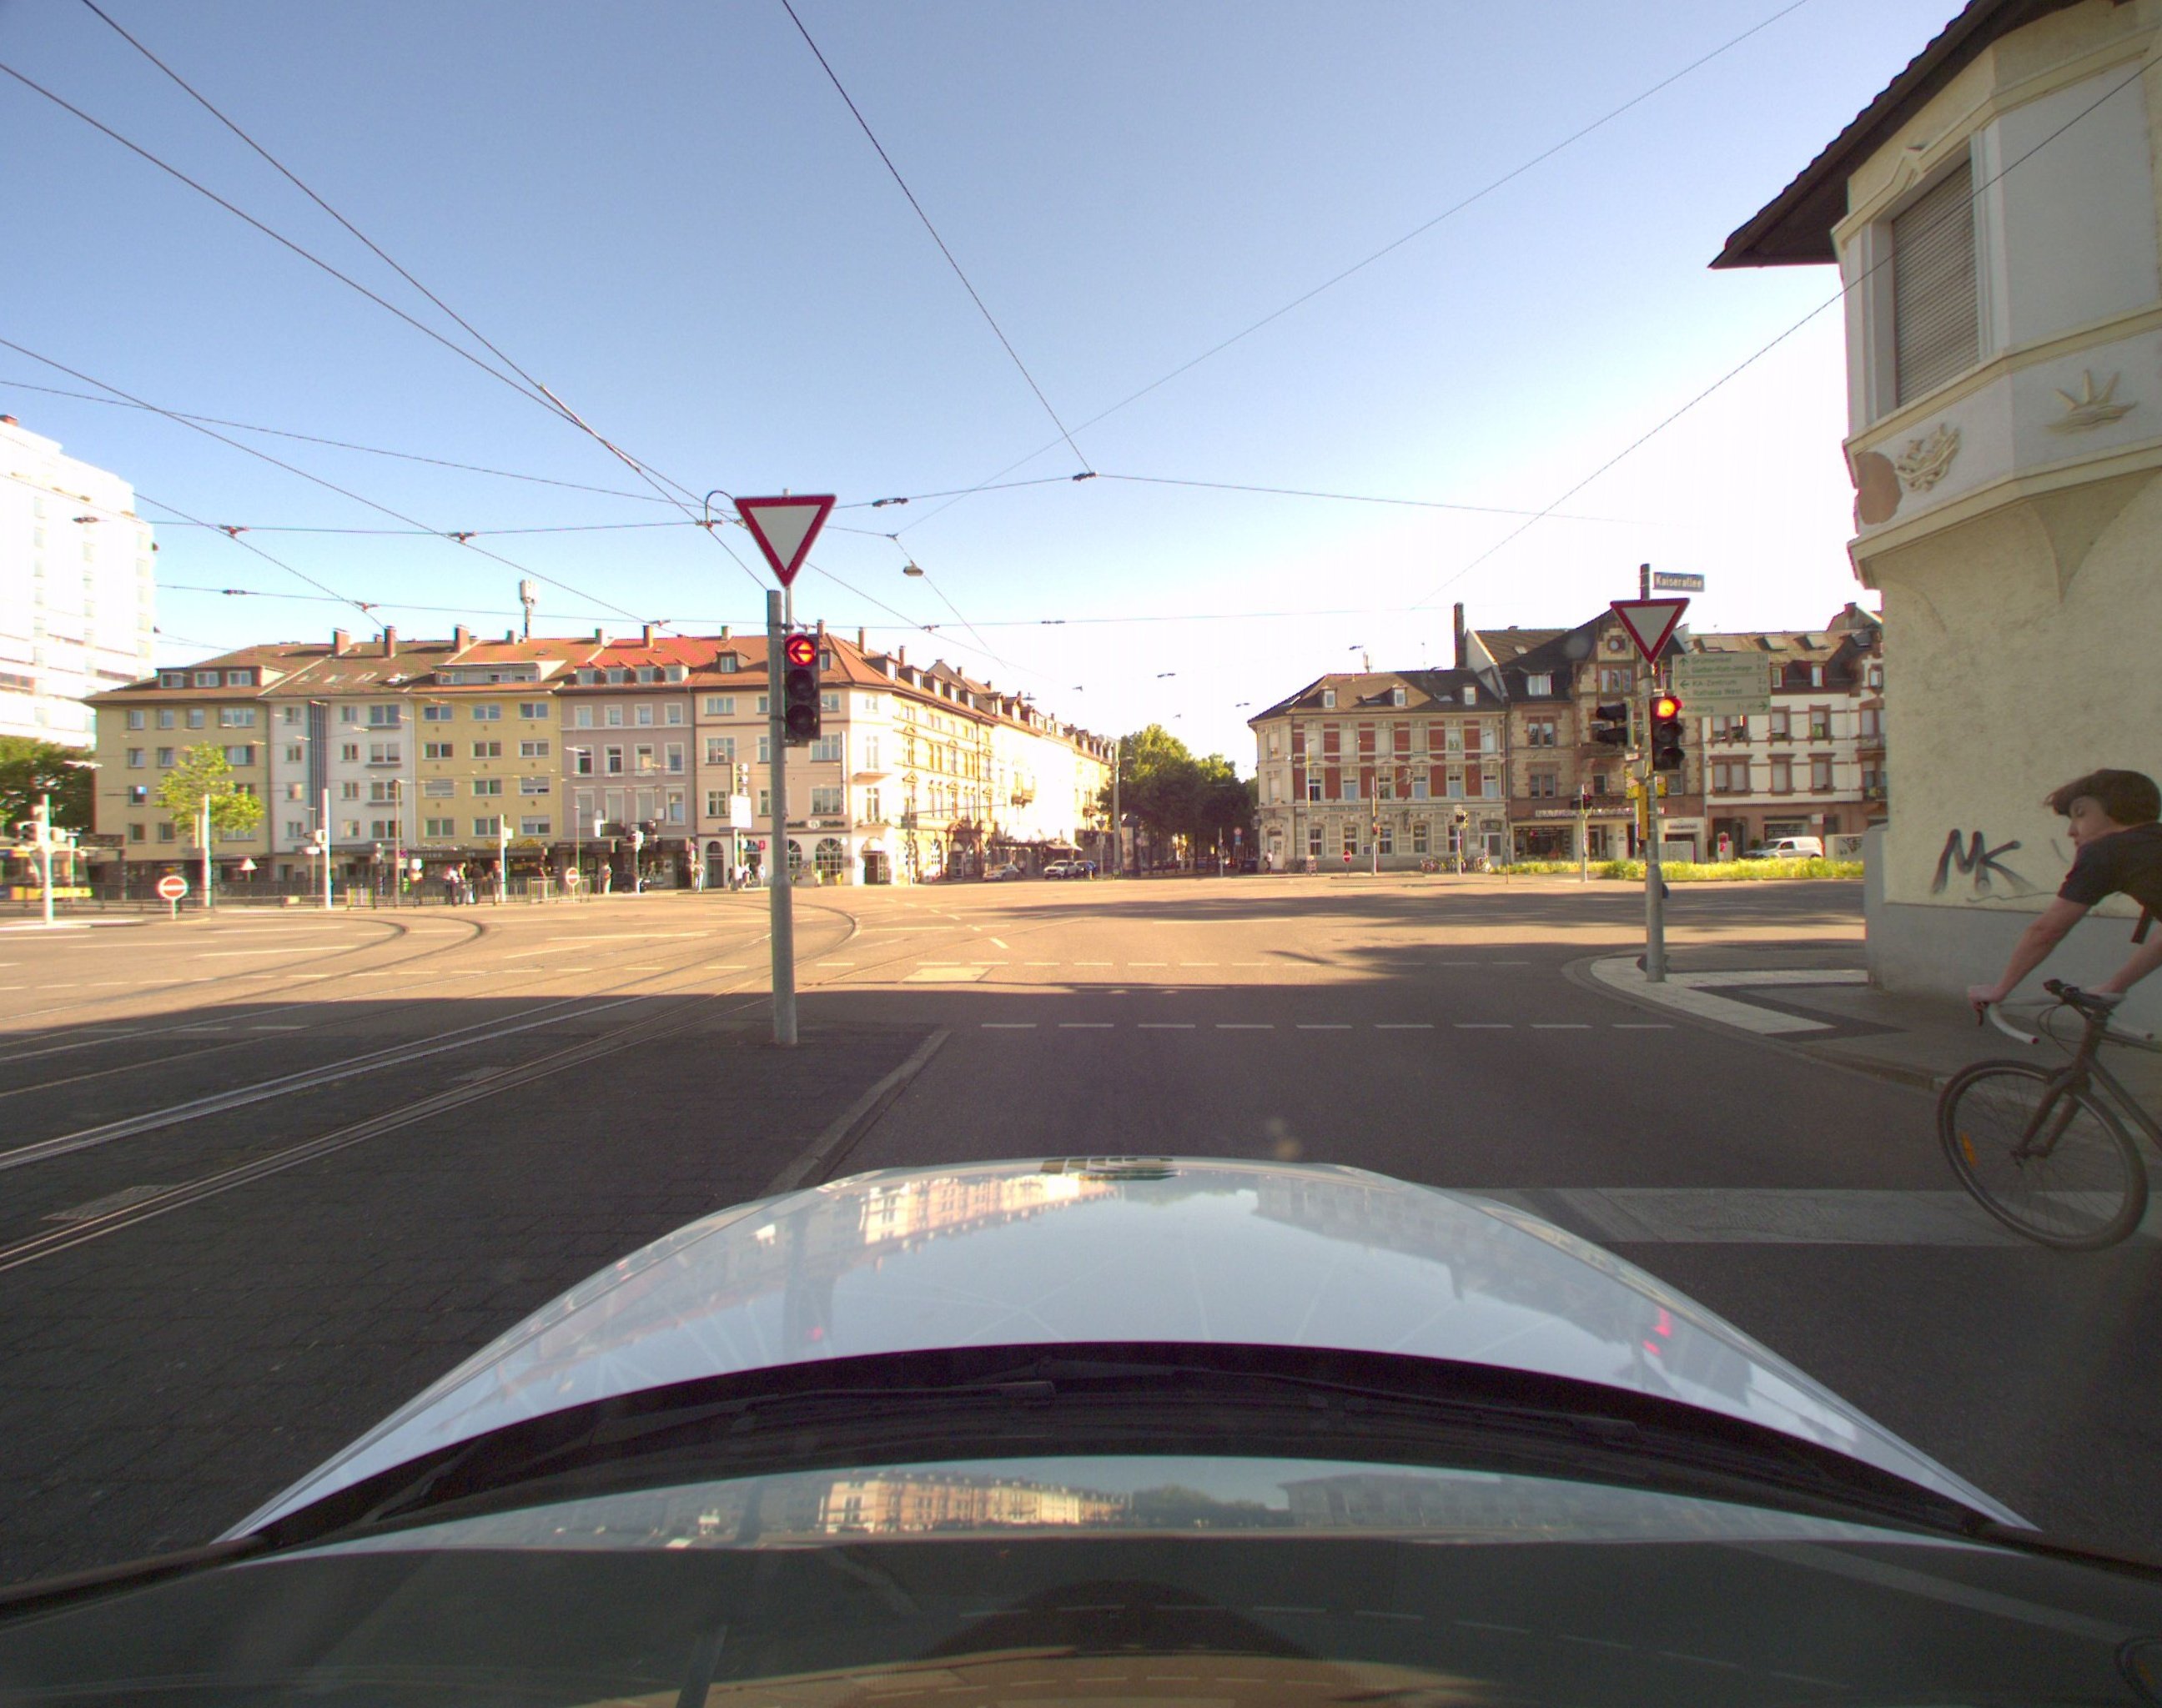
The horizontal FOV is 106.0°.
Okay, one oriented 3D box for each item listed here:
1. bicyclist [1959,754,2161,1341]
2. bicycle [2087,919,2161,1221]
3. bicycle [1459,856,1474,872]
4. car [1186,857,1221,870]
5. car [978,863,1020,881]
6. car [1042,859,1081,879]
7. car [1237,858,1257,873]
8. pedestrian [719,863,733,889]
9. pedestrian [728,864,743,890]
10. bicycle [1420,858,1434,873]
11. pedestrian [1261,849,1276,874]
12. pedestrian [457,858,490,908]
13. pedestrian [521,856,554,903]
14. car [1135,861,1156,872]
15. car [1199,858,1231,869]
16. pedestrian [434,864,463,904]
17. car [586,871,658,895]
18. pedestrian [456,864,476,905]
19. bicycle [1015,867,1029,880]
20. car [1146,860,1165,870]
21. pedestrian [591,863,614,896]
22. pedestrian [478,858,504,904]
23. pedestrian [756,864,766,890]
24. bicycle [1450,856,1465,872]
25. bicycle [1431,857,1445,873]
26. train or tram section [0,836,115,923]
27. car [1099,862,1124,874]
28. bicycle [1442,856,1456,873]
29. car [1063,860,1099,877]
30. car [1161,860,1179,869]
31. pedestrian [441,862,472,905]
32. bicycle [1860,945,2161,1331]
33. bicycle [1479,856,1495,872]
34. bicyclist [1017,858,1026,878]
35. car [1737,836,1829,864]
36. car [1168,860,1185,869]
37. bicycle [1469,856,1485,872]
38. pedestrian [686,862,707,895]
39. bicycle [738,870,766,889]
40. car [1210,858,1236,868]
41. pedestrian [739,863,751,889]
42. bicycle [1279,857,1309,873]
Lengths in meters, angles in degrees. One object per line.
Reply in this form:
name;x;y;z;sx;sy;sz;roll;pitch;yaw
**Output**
bicyclist;3.564;0.576;2.492;0.649;1.767;0.995;-1;0;2
bicycle;4.509;0.858;2.480;0.568;1.165;1.890;-1;0;2
bicycle;24.906;0.653;52.666;0.483;1.020;1.789;-1;0;12
car;14.971;1.157;99.499;3.959;1.454;1.687;-1;0;13
car;-6.751;1.479;67.355;1.977;1.361;3.836;-1;0;18
car;-1.582;1.220;67.661;1.977;1.516;4.189;-1;0;18
car;16.808;1.132;82.284;1.742;1.420;4.016;-1;0;14
pedestrian;-23.068;1.412;52.924;0.744;1.682;0.623;-1;0;-23
pedestrian;-23.337;1.553;55.024;0.740;1.682;0.626;-1;0;-10
bicycle;22.490;0.750;52.969;0.483;0.914;1.789;-1;0;12
pedestrian;12.993;0.519;56.498;1.028;1.712;0.631;-1;-1;12
pedestrian;-23.228;1.101;31.155;0.625;1.850;0.778;-1;0;1
pedestrian;-21.599;1.022;32.374;0.764;1.829;0.723;-1;0;1
car;9.255;1.816;116.814;1.977;1.404;4.189;-1;0;18
car;17.345;1.227;105.152;3.959;1.288;1.700;-1;0;13
pedestrian;-25.292;1.202;32.555;0.696;1.581;0.560;-1;0;1
car;-30.243;1.904;53.687;3.711;1.491;1.820;0;-1;4
pedestrian;-23.791;1.170;31.503;0.426;1.551;0.453;-1;0;1
bicycle;-4.754;1.533;65.560;0.650;1.000;1.671;-1;-1;14
car;11.210;1.692;122.493;1.977;1.404;4.189;-1;0;18
pedestrian;-24.898;1.310;42.372;0.764;1.682;0.628;-1;0;1
pedestrian;-23.270;1.053;32.132;0.558;1.786;0.560;-1;0;1
pedestrian;-15.806;1.136;40.217;0.364;1.253;0.449;-1;0;-10
bicycle;24.373;0.658;52.738;0.483;1.020;1.789;-1;0;12
bicycle;23.166;0.721;52.865;0.483;1.020;1.789;-1;0;12
train or tram section;-52.985;1.197;38.264;11.609;3.934;2.960;0;-1;0
car;3.841;1.714;102.167;1.977;1.404;4.189;-1;0;18
bicycle;23.831;0.683;52.753;0.483;1.020;1.789;-1;0;12
car;0.039;1.313;73.798;1.977;1.404;4.189;-1;0;18
car;14.340;1.712;131.251;1.977;1.404;4.189;-1;0;18
pedestrian;-24.396;1.152;31.827;0.738;1.635;0.572;-1;0;1
bicycle;3.565;0.919;2.494;0.568;1.058;1.890;-1;0;2
bicycle;26.208;0.643;52.602;0.483;1.020;1.789;-1;0;12
bicyclist;-4.760;1.096;65.462;0.486;1.601;0.668;-1;0;12
car;45.298;-0.247;52.591;4.239;1.622;1.999;-1;0;-1
car;16.040;1.741;136.410;1.977;1.404;4.189;-1;0;18
bicycle;25.548;0.648;52.538;0.483;1.020;1.789;-1;0;12
pedestrian;-19.948;1.273;42.291;0.738;1.682;0.628;-1;0;1
bicycle;-23.278;1.767;57.632;1.714;1.276;0.385;-1;0;-16
car;19.390;1.215;111.181;3.409;1.239;1.582;-1;0;13
pedestrian;-21.822;1.432;52.858;0.630;1.682;0.736;-1;0;-27
bicycle;14.920;0.750;57.131;1.940;1.054;0.717;-1;0;11
